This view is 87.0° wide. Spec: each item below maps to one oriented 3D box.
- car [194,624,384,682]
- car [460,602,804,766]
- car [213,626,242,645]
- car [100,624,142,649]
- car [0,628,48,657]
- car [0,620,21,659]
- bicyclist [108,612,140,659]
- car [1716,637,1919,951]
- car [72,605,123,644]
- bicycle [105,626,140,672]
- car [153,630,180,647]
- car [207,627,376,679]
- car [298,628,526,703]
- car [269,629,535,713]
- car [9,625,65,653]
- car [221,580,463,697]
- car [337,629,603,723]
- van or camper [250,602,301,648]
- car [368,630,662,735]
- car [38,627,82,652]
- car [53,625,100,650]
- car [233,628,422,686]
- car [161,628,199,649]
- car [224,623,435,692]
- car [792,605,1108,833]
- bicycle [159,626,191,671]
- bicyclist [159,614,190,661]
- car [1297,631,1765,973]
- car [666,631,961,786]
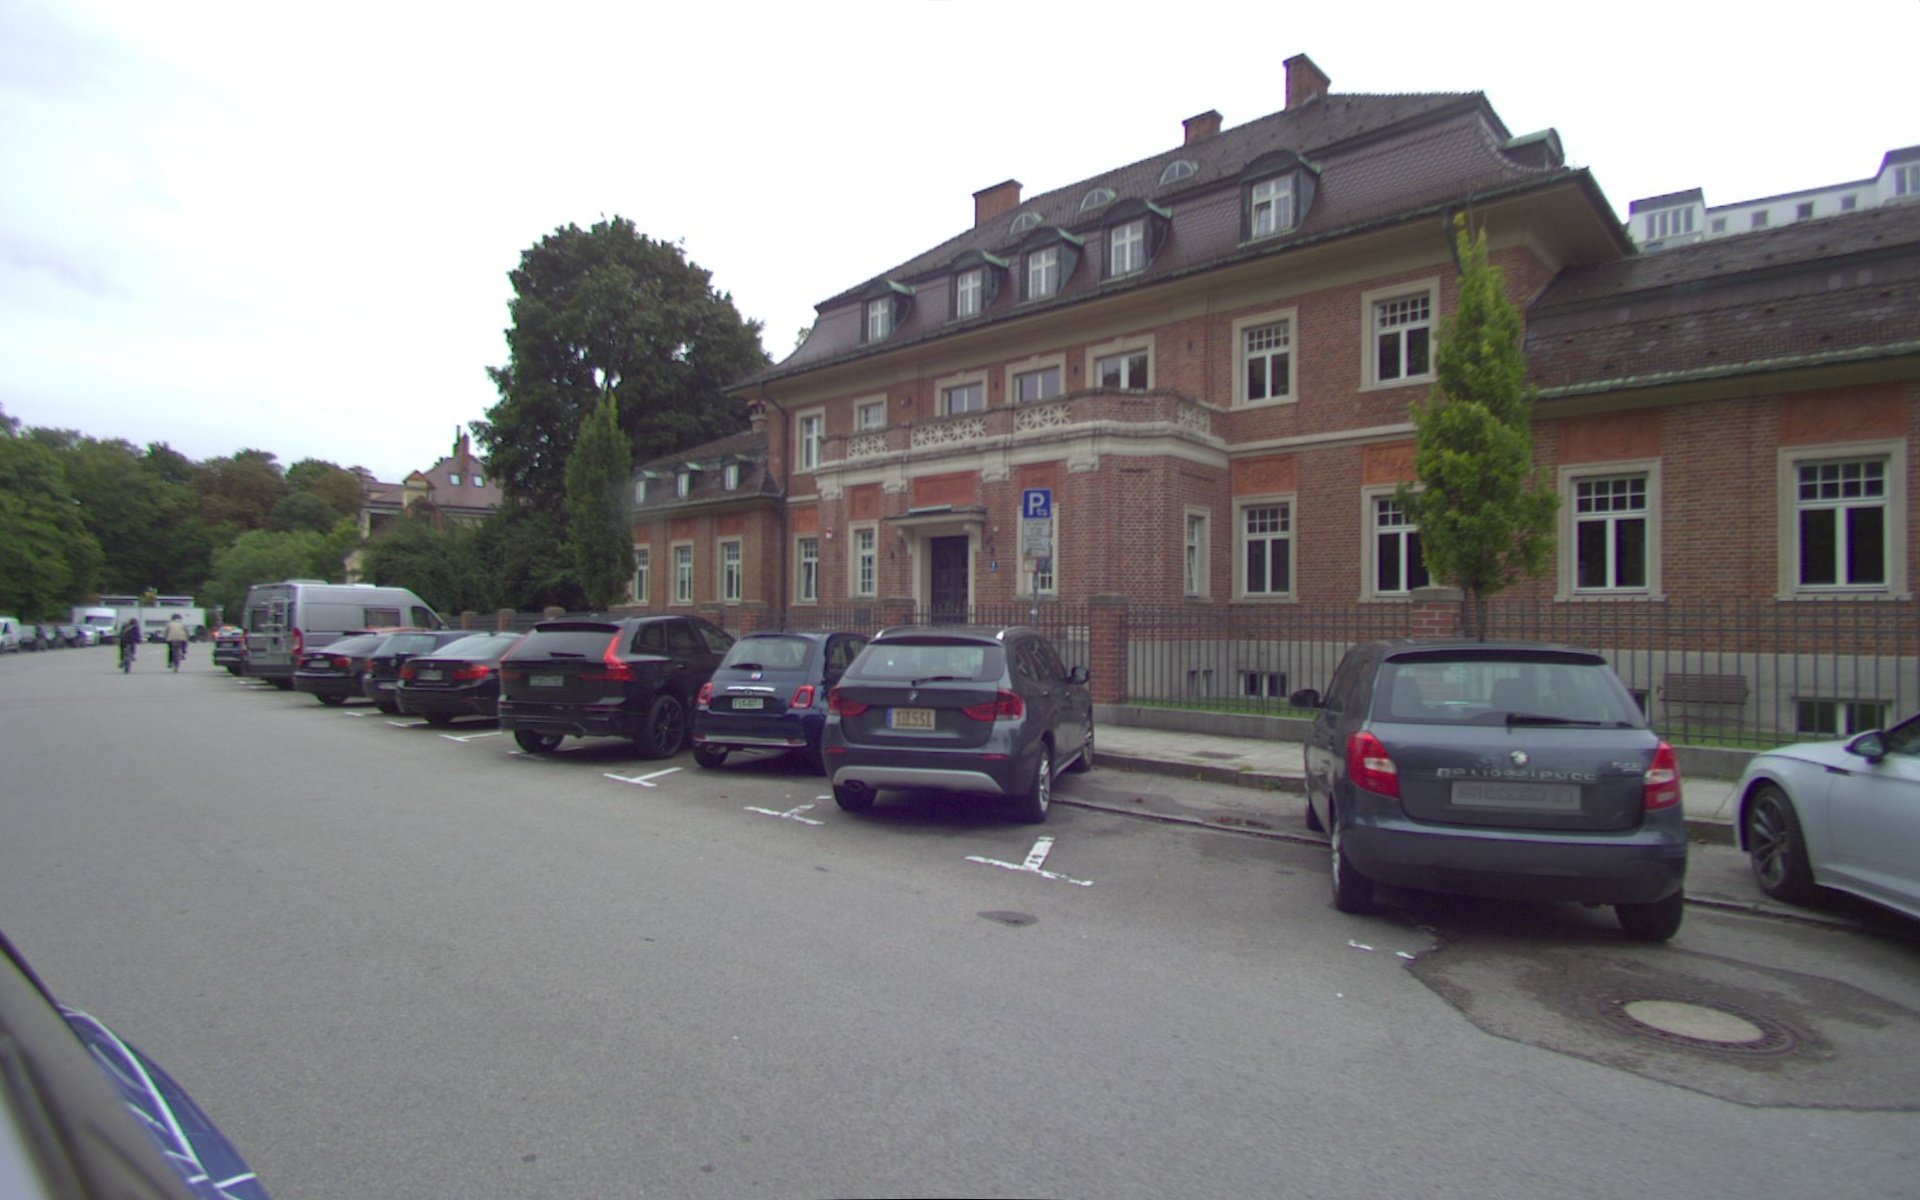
[{"bbox_3d":[-20.379,1.624,30.981,1.953,1.606,4.491,0,-3,23],"label":"car"},{"bbox_3d":[-3.887,0.984,12.979,1.970,1.677,4.502,1,-3,16],"label":"car"},{"bbox_3d":[-57.135,2.746,78.969,1.748,1.486,4.144,1,-2,-35],"label":"car"},{"bbox_3d":[-69.951,3.053,84.457,1.908,1.919,5.086,4,-4,-32],"label":"car"},{"bbox_3d":[-50.978,2.279,54.741,1.724,1.475,4.254,2,-3,-33],"label":"car"},{"bbox_3d":[-47.963,1.944,49.680,1.797,1.875,4.912,0,-2,-32],"label":"car"},{"bbox_3d":[-24.733,1.055,29.949,0.688,1.362,0.932,2,-2,-39],"label":"bicyclist"},{"bbox_3d":[5.311,0.895,4.090,1.878,1.462,4.498,0,-2,12],"label":"car"},{"bbox_3d":[-63.720,1.868,74.844,2.051,2.707,6.103,4,-4,-34],"label":"car"},{"bbox_3d":[-24.858,1.431,30.063,0.697,1.315,2.122,2,-2,-38],"label":"bicycle"},{"bbox_3d":[-74.476,3.647,94.970,1.868,1.457,4.276,-1,-2,-39],"label":"car"},{"bbox_3d":[-21.917,1.709,33.286,1.934,1.541,4.283,0,-1,43],"label":"car"},{"bbox_3d":[-12.544,1.437,23.528,1.924,1.528,4.495,0,-2,21],"label":"car"},{"bbox_3d":[-10.938,1.373,20.260,1.962,1.462,4.498,0,-3,19],"label":"car"},{"bbox_3d":[-53.935,2.307,59.208,1.703,1.541,4.215,3,-4,-33],"label":"car"},{"bbox_3d":[-14.962,0.958,24.848,2.220,2.583,4.601,-1,-3,23],"label":"car"},{"bbox_3d":[-8.700,1.326,18.499,1.804,1.462,4.502,0,-3,16],"label":"car"},{"bbox_3d":[-46.767,1.762,69.263,2.421,2.963,7.232,3,-3,-31],"label":"van or camper"},{"bbox_3d":[-6.966,1.278,16.464,1.911,1.429,4.502,0,-3,16],"label":"car"},{"bbox_3d":[-56.757,2.510,63.885,1.263,1.518,5.221,4,-4,-33],"label":"car"},{"bbox_3d":[-60.224,2.612,69.056,1.846,1.581,5.013,4,-5,-36],"label":"car"},{"bbox_3d":[-18.324,1.658,29.561,1.822,1.498,4.386,1,-3,24],"label":"car"},{"bbox_3d":[-69.390,3.436,90.075,1.965,1.706,4.348,-1,-2,-28],"label":"car"},{"bbox_3d":[-16.793,1.518,27.244,1.954,1.638,4.491,1,-2,23],"label":"car"},{"bbox_3d":[0.215,0.907,9.478,1.872,1.579,4.505,0,-2,14],"label":"car"},{"bbox_3d":[-24.090,1.472,31.043,0.698,1.315,2.122,2,-2,-39],"label":"bicycle"},{"bbox_3d":[-24.085,1.149,31.028,0.688,1.408,0.932,2,-2,-39],"label":"bicyclist"},{"bbox_3d":[3.242,0.967,6.716,1.642,1.462,4.373,0,-2,15],"label":"car"},{"bbox_3d":[-1.501,1.195,12.198,1.805,1.483,4.304,0,-4,18],"label":"car"}]
